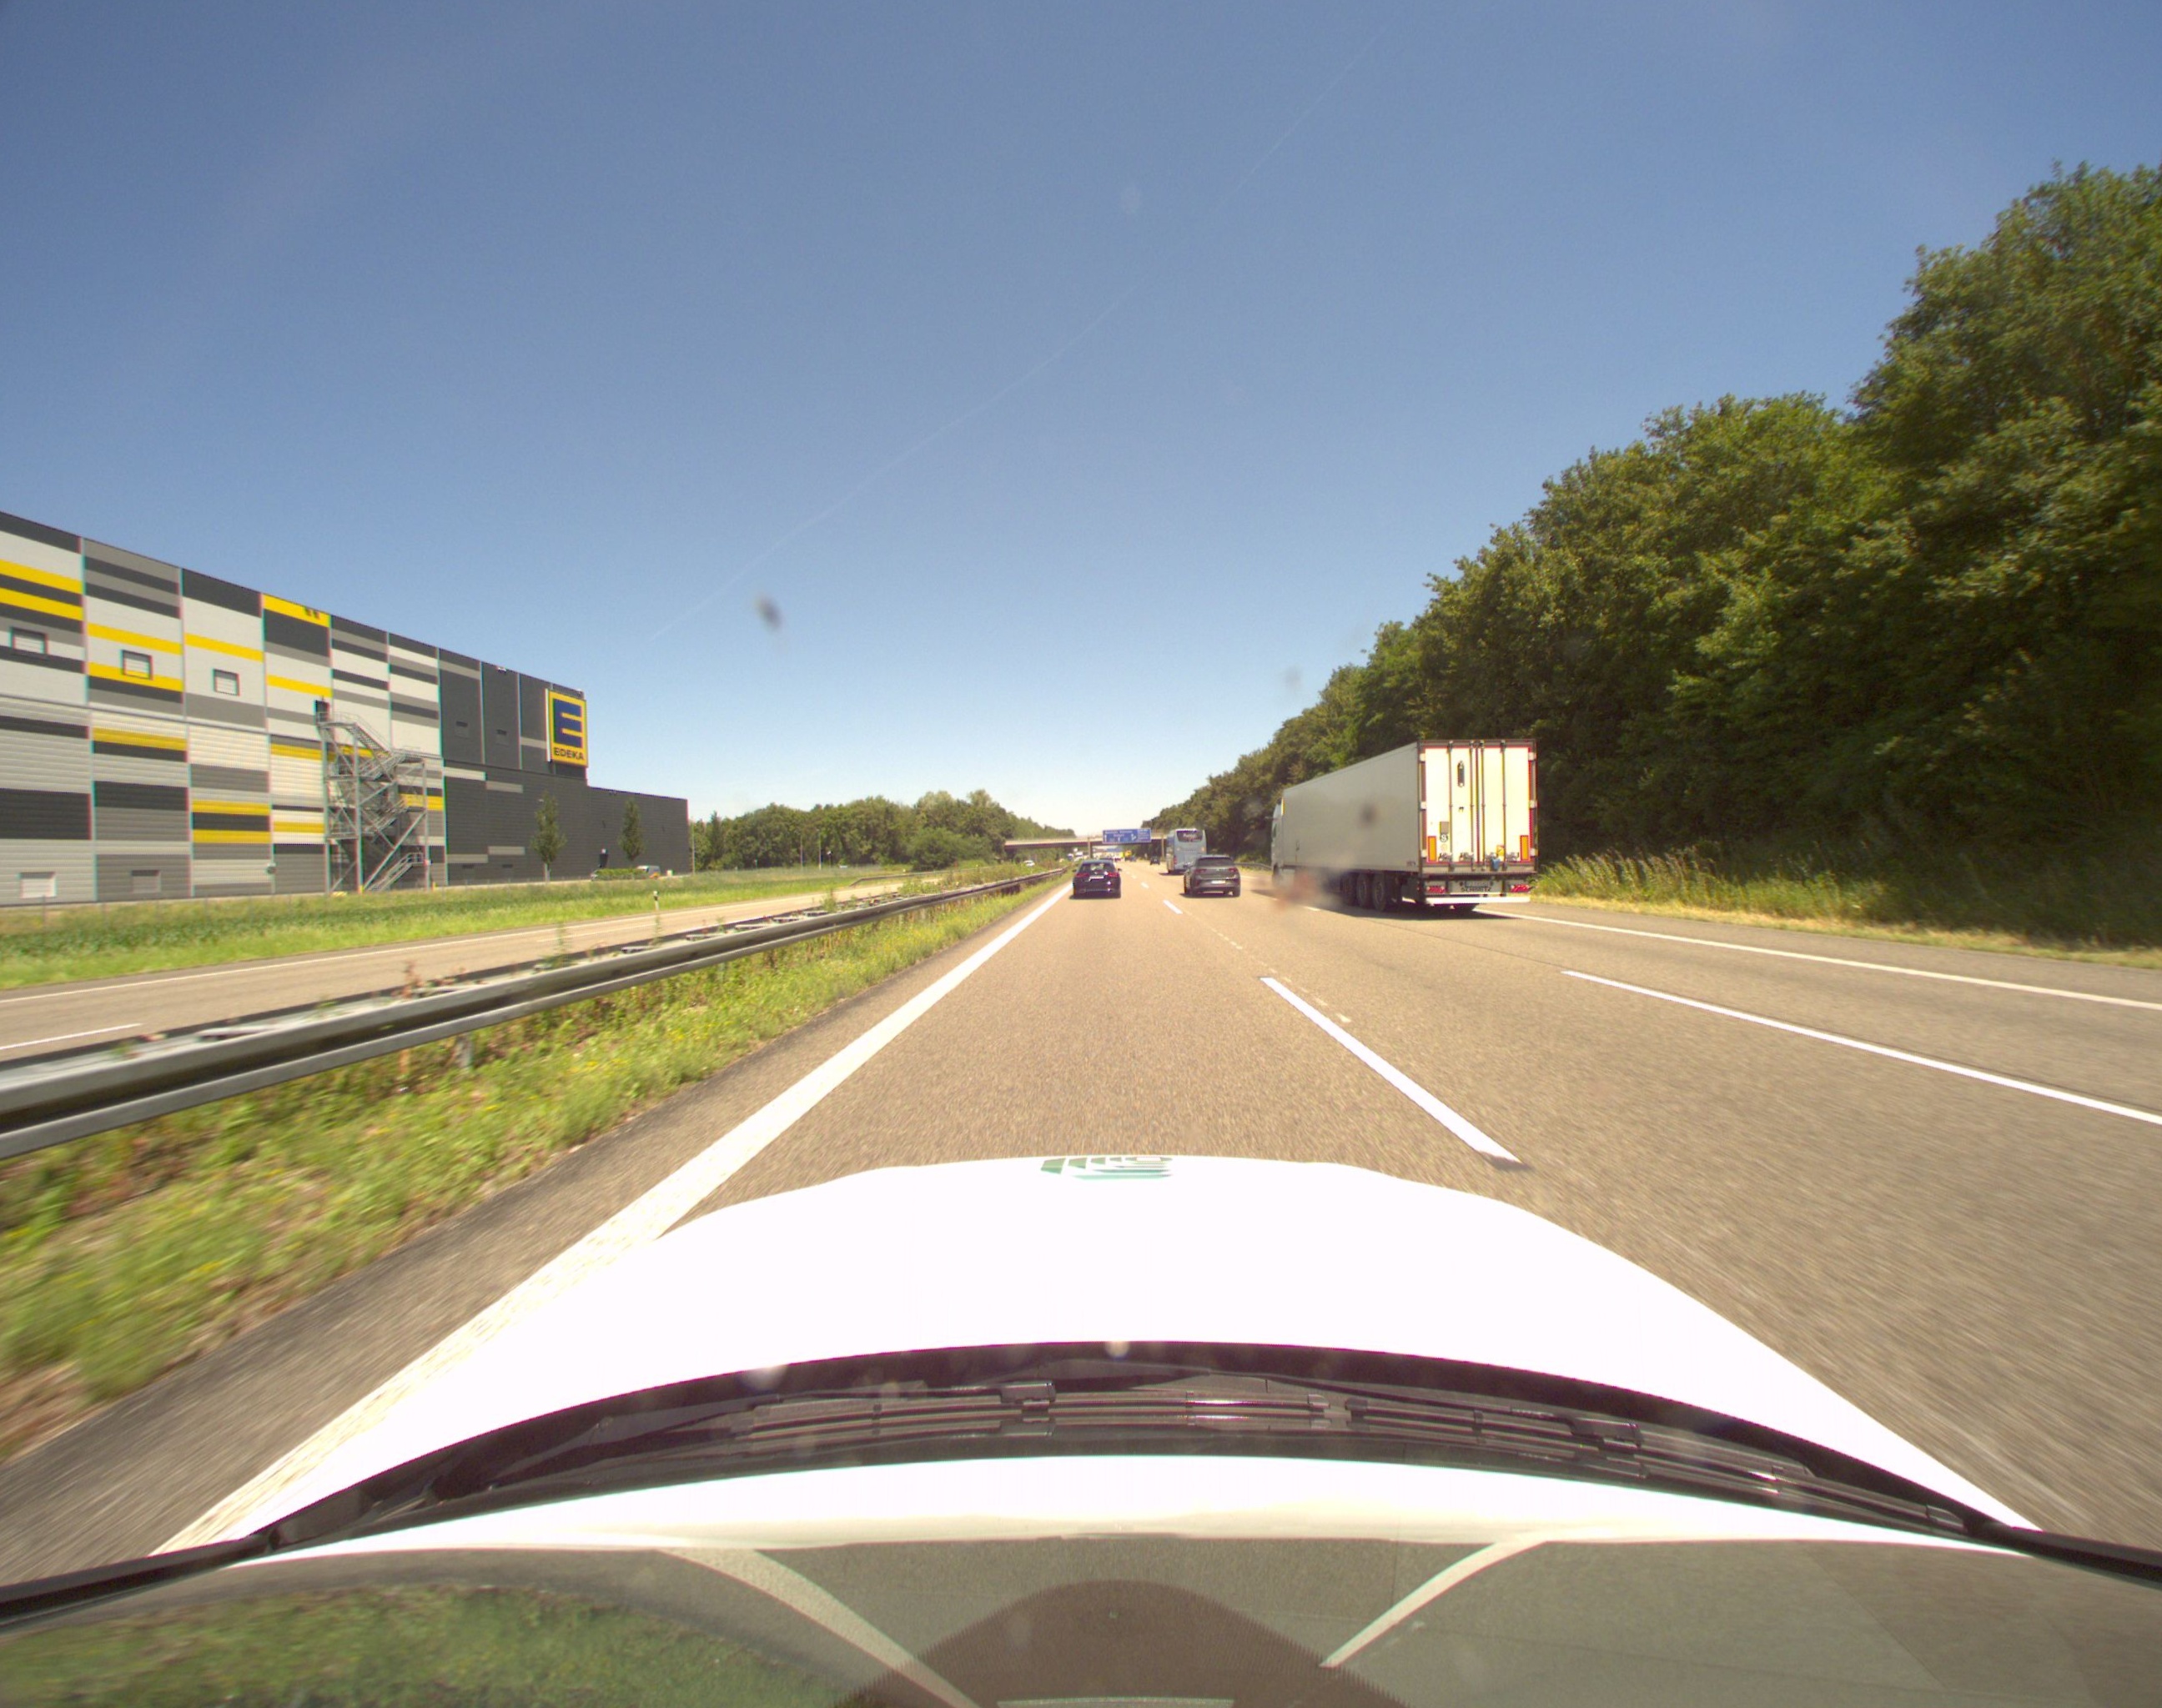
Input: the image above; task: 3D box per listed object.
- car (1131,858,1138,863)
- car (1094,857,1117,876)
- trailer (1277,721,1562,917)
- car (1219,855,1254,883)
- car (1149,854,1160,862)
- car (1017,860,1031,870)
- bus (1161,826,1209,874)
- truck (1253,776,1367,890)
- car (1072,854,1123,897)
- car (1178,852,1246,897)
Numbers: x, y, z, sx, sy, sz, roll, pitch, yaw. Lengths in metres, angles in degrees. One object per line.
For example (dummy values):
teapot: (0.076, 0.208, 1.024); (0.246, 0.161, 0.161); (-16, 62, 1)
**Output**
car: (16.428, 1.914, 252.192); (2.072, 1.532, 4.244); (-1, 0, 3)
car: (2.103, 1.042, 70.560); (1.892, 1.532, 4.242); (-1, 0, 1)
trailer: (9.026, -0.759, 24.615); (3.029, 4.224, 13.837); (-1, 0, 1)
car: (12.017, 1.130, 63.114); (1.892, 2.120, 4.242); (-1, 0, 1)
car: (13.201, 0.758, 145.708); (1.782, 1.461, 3.952); (-1, 0, 3)
car: (-8.857, 1.637, 126.996); (1.628, 1.427, 4.661); (-3, 0, 1)
bus: (8.453, -0.270, 67.578); (2.791, 3.596, 12.480); (-1, 0, 2)
truck: (9.176, -0.767, 33.411); (3.037, 4.215, 6.049); (-1, 0, 1)
car: (0.626, 0.785, 31.379); (1.793, 1.502, 4.242); (-1, 0, 1)
car: (4.882, 0.715, 30.946); (1.892, 1.532, 4.760); (-1, 0, 1)
